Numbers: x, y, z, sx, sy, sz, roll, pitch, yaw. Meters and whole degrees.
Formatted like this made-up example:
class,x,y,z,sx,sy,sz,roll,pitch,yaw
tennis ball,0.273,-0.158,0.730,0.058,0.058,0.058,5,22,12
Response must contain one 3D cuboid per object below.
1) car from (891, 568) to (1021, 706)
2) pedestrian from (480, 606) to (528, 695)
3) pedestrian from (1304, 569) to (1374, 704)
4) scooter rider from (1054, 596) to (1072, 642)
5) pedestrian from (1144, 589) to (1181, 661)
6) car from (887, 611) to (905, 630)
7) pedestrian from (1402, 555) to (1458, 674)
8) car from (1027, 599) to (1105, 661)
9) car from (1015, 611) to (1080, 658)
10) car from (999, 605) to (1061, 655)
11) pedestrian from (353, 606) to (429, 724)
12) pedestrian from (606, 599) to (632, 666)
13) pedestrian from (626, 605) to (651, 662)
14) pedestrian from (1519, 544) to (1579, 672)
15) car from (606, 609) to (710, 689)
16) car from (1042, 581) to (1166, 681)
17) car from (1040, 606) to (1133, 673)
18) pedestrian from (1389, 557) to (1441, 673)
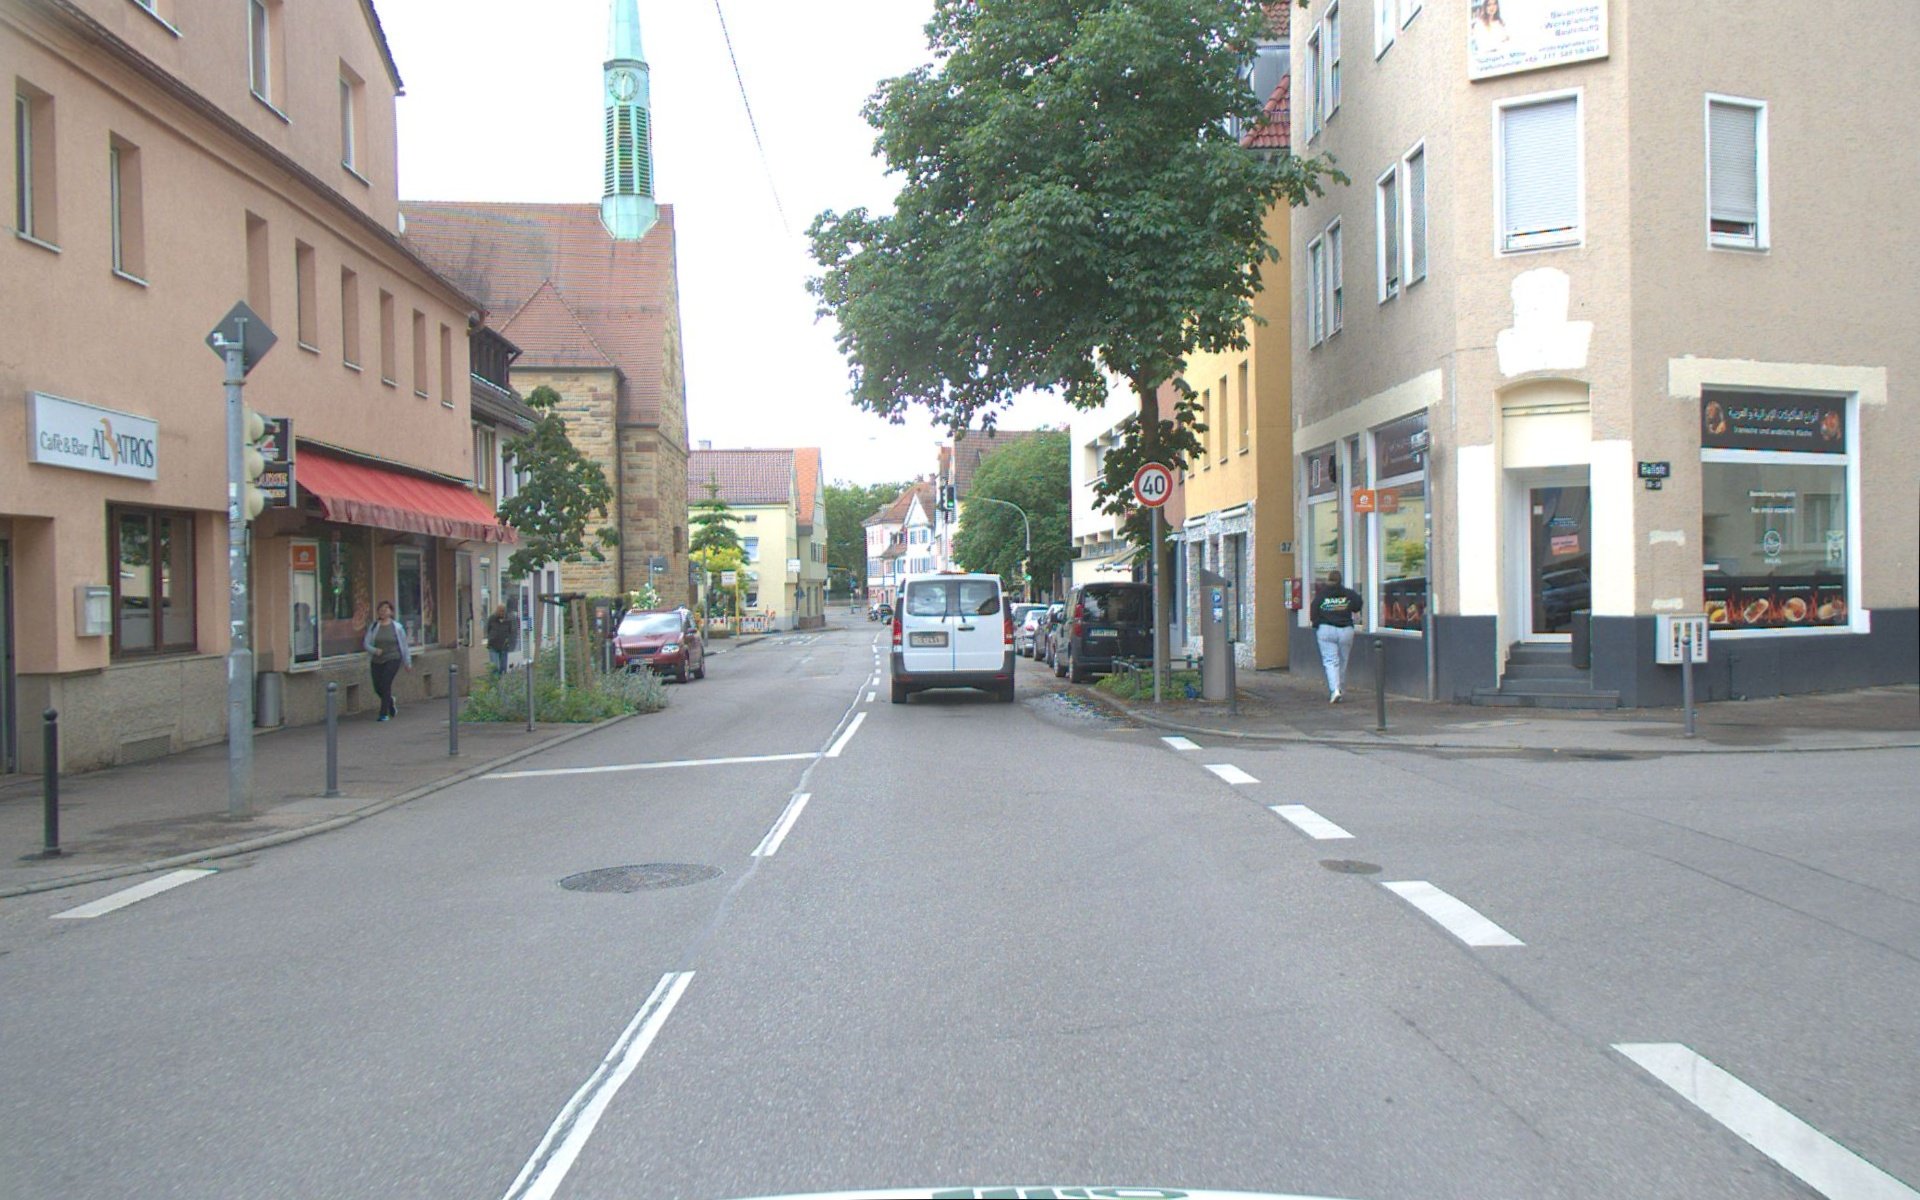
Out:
class,x,y,z,sx,sy,sz,roll,pitch,yaw
car,-0.095,0.538,25.629,1.835,1.945,3.999,-1,0,-1
pedestrian,-8.718,0.954,31.610,0.721,1.657,0.752,-1,0,-27
pedestrian,4.864,0.453,21.255,0.602,1.682,0.982,-1,0,-3
scooter rider,3.832,0.719,61.447,0.445,1.660,0.502,-3,-2,-17
pedestrian,4.811,0.590,39.355,0.687,1.678,0.888,-2,0,-3
car,-6.950,2.187,179.450,1.896,2.049,3.997,0,-1,-3
pedestrian,6.358,0.202,22.380,0.555,1.588,0.655,0,-1,-2
car,2.802,0.794,44.413,1.570,1.545,4.206,-2,0,-3
car,2.576,1.012,49.472,1.520,1.356,3.810,-1,-1,-3
car,2.264,0.979,54.574,1.677,1.588,3.783,-1,-1,-3
pedestrian,-7.769,0.870,22.613,0.724,1.562,0.982,0,0,-3
pedestrian,-9.751,0.913,47.311,0.559,1.880,0.696,2,-1,-2
pedestrian,-9.071,0.947,46.632,0.559,1.582,0.696,1,-1,-2
pedestrian,7.448,0.102,20.914,0.555,1.588,0.520,0,-1,-2
car,-6.773,1.054,37.476,1.669,1.601,4.448,-3,0,-3
car,2.748,0.591,32.448,1.783,1.812,4.400,-1,-1,-4
car,2.935,0.894,39.157,1.715,1.430,4.510,-2,0,-1
pedestrian,6.322,0.210,23.015,0.555,1.588,0.556,0,-1,-2
